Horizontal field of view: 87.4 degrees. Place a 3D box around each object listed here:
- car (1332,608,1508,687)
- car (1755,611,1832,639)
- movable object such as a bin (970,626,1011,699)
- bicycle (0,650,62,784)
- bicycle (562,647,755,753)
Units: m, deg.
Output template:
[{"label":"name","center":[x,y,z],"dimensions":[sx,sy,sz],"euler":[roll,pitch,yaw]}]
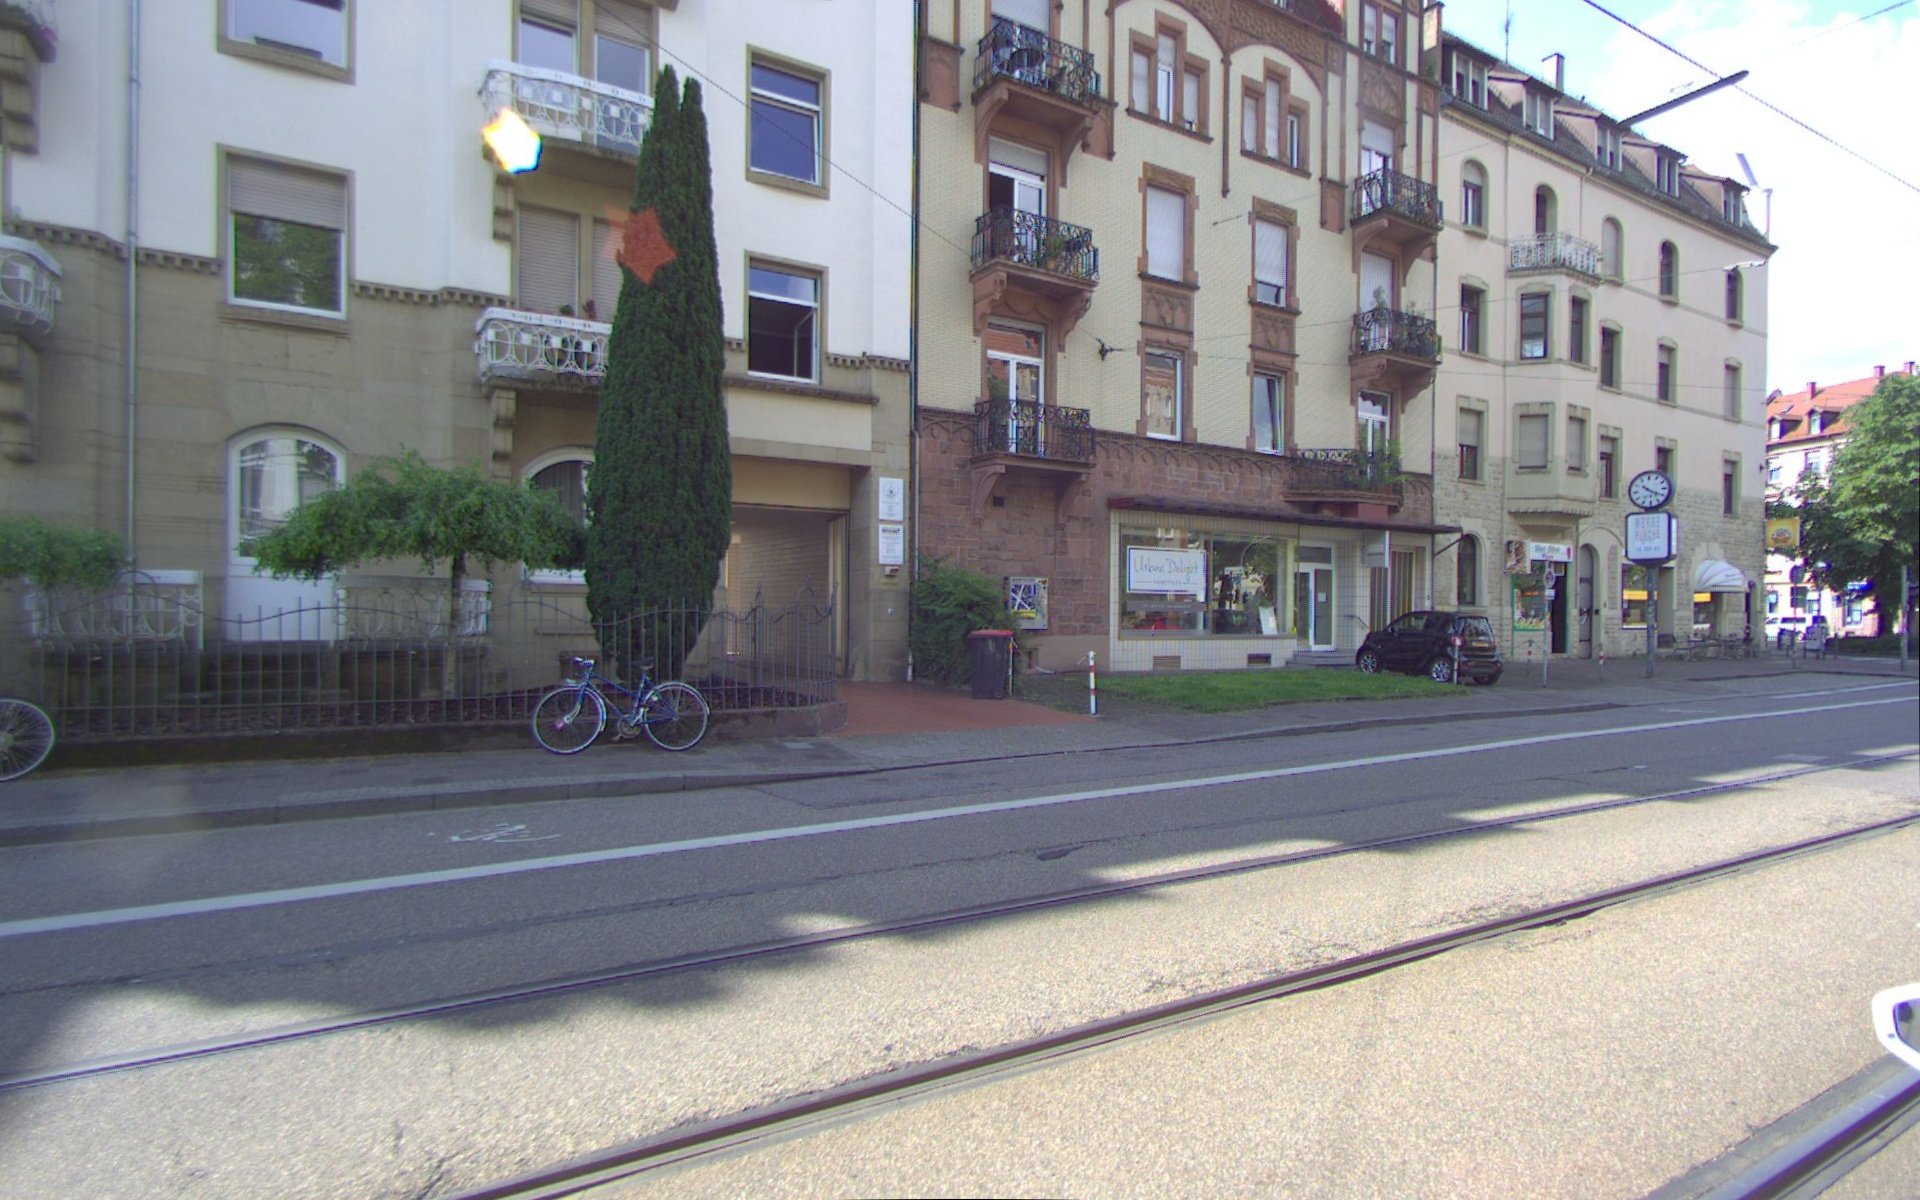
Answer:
[{"label":"car","center":[10.180,0.998,22.435],"dimensions":[1.657,1.533,3.224],"euler":[1,1,-27]},{"label":"car","center":[65.100,1.992,78.542],"dimensions":[1.970,2.039,4.115],"euler":[0,-4,-21]},{"label":"movable object such as a bin","center":[0.495,0.980,15.931],"dimensions":[0.595,1.084,0.597],"euler":[2,2,3]},{"label":"bicycle","center":[-7.770,0.875,7.383],"dimensions":[1.685,0.972,0.424],"euler":[1,1,-30]},{"label":"bicycle","center":[-3.047,1.012,10.200],"dimensions":[1.790,0.972,0.510],"euler":[3,1,-25]}]
